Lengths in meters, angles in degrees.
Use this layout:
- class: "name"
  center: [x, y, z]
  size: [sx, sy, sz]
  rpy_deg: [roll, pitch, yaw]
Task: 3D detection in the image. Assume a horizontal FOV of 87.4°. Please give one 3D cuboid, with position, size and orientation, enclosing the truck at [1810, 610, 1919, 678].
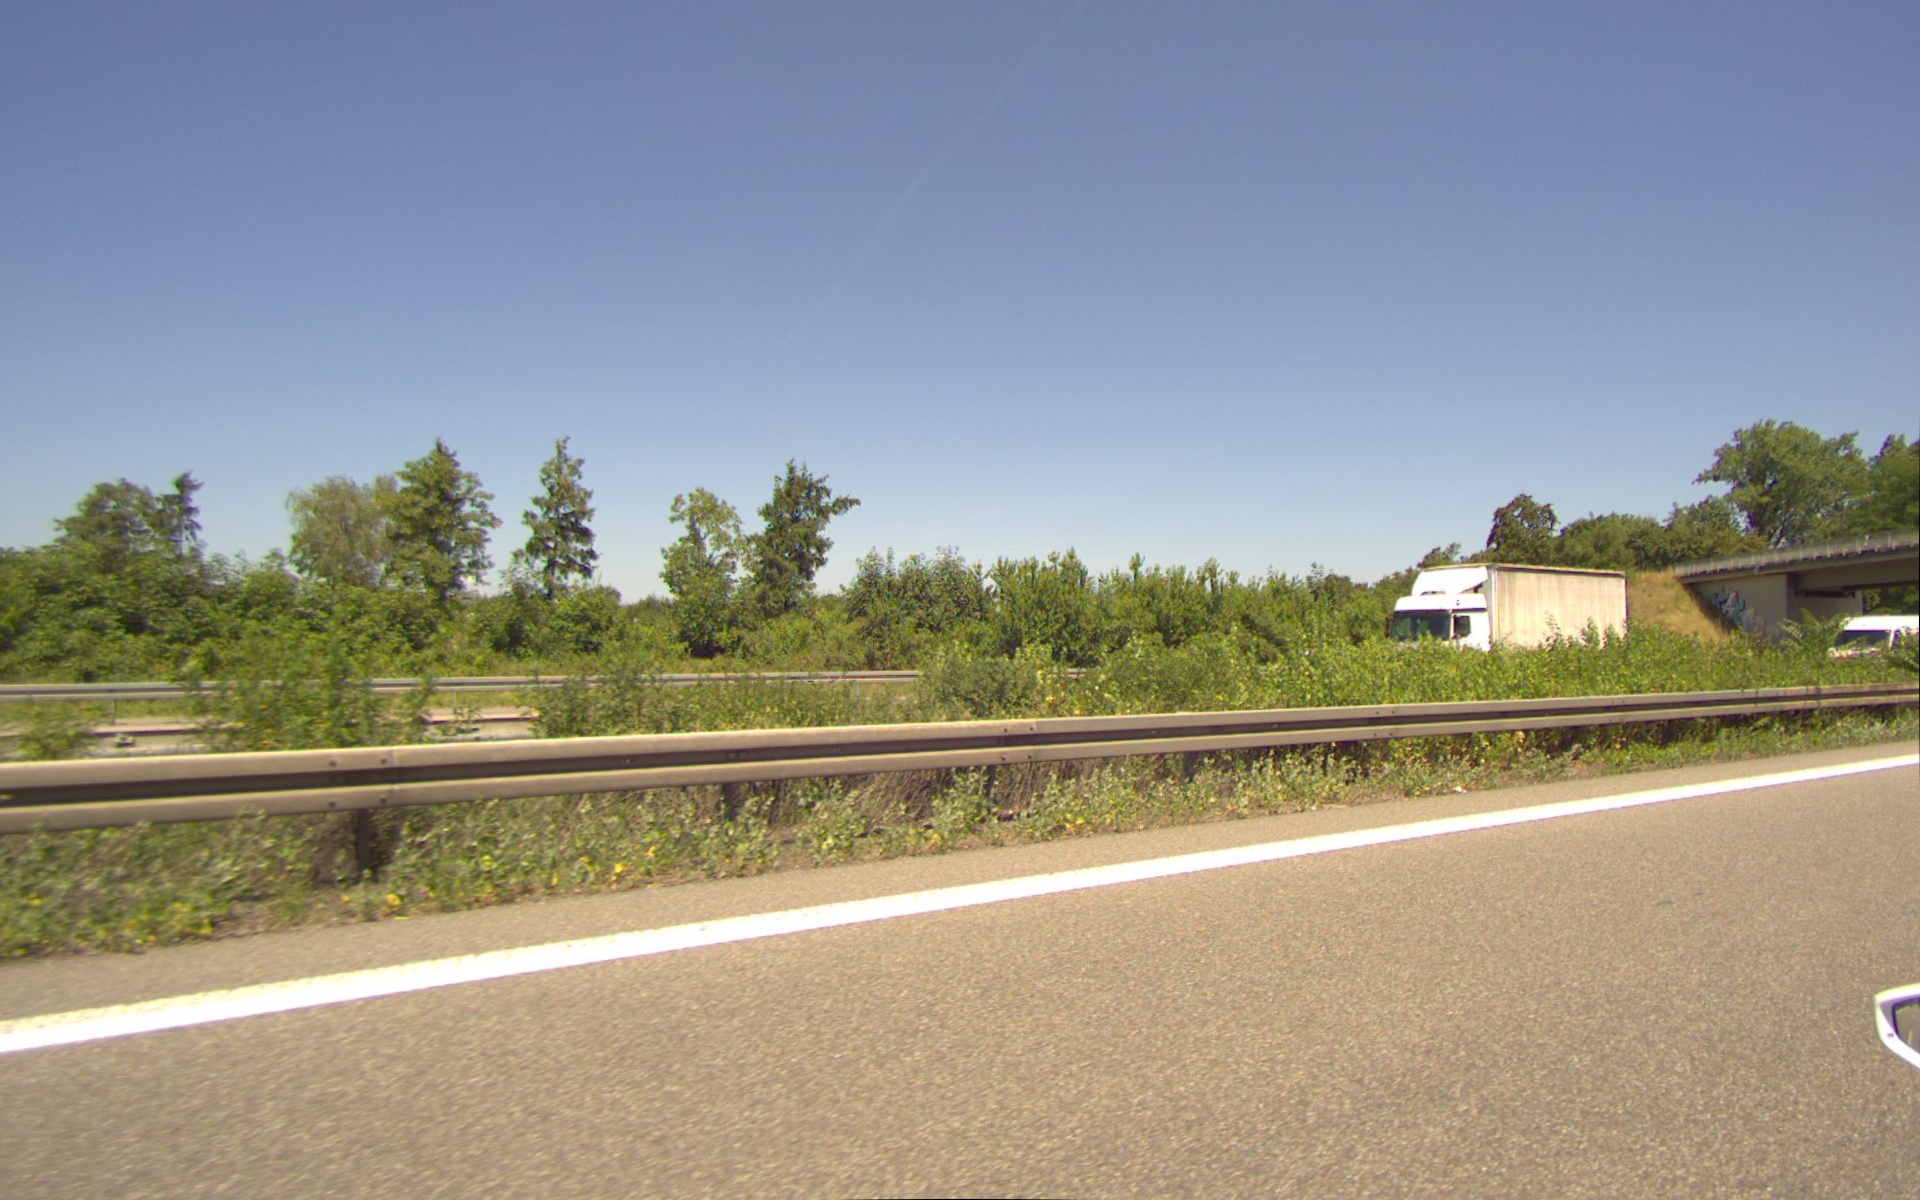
- class: "truck"
  center: [35.443, 1.666, 38.734]
  size: [6.342, 2.431, 1.984]
  rpy_deg: [1, 0, -29]

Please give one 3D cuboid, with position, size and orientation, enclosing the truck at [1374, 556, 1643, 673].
- class: "truck"
  center: [18.902, 0.553, 34.285]
  size: [10.605, 3.544, 2.864]
  rpy_deg: [1, 0, -29]
